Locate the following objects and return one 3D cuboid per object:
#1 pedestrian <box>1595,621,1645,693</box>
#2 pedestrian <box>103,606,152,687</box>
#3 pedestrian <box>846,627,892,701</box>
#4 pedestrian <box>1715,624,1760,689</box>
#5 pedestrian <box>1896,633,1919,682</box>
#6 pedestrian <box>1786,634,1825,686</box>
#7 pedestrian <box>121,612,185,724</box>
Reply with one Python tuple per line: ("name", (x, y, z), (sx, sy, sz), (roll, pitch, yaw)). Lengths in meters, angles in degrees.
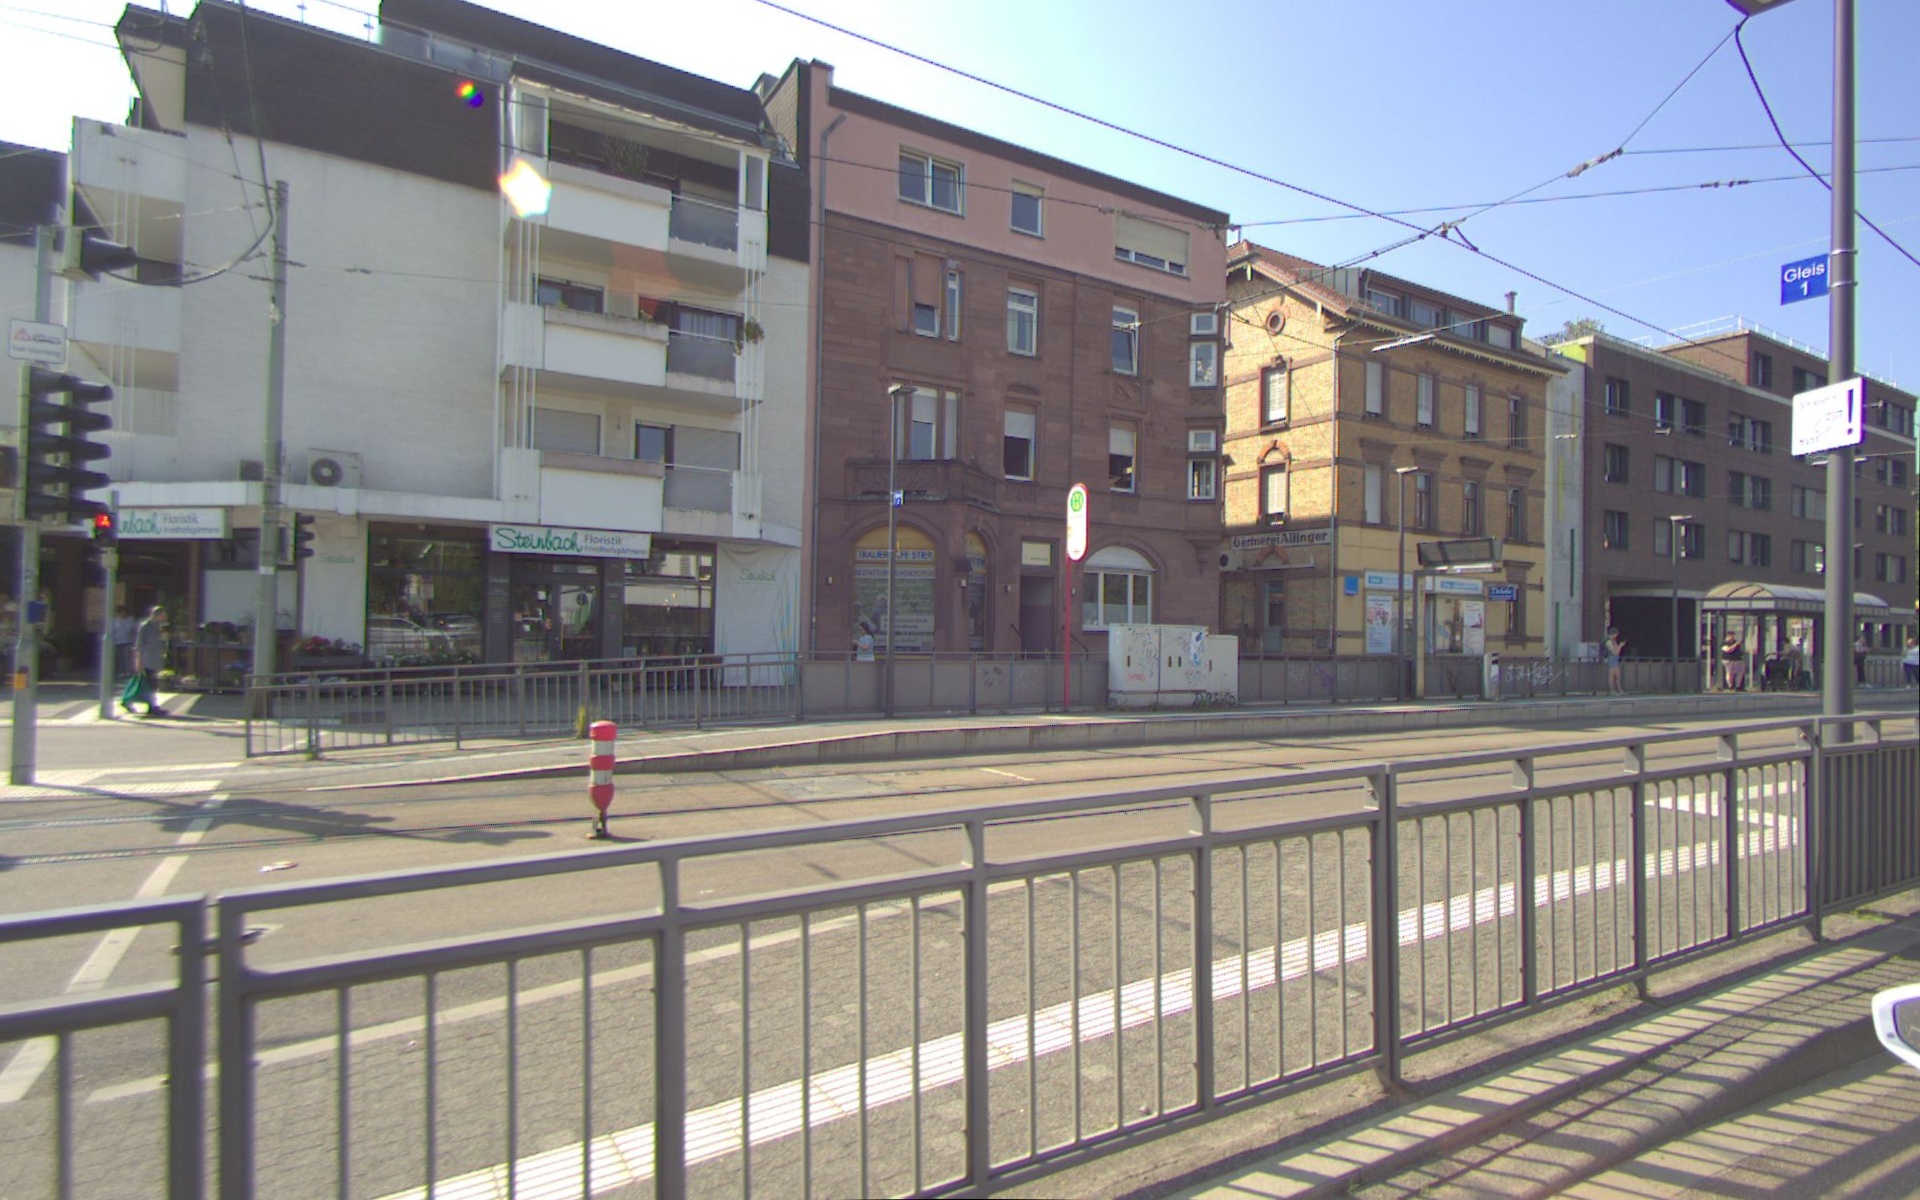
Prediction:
("pedestrian", (16.267, 1.402, 24.771), (0.790, 1.746, 0.704), (2, -4, -31))
("pedestrian", (-18.492, 1.037, 22.330), (0.690, 1.763, 0.676), (2, -4, -32))
("pedestrian", (-2.016, 1.415, 22.189), (0.874, 1.580, 0.482), (3, -1, -20))
("pedestrian", (21.787, 1.585, 28.153), (0.790, 1.770, 0.704), (2, -4, -31))
("pedestrian", (30.590, 1.864, 32.309), (0.695, 1.550, 0.529), (2, -4, -37))
("pedestrian", (24.820, 1.760, 29.491), (0.528, 1.487, 0.696), (3, -4, -28))
("pedestrian", (-13.078, 1.101, 16.280), (0.589, 1.768, 0.566), (-2, -3, 26))
